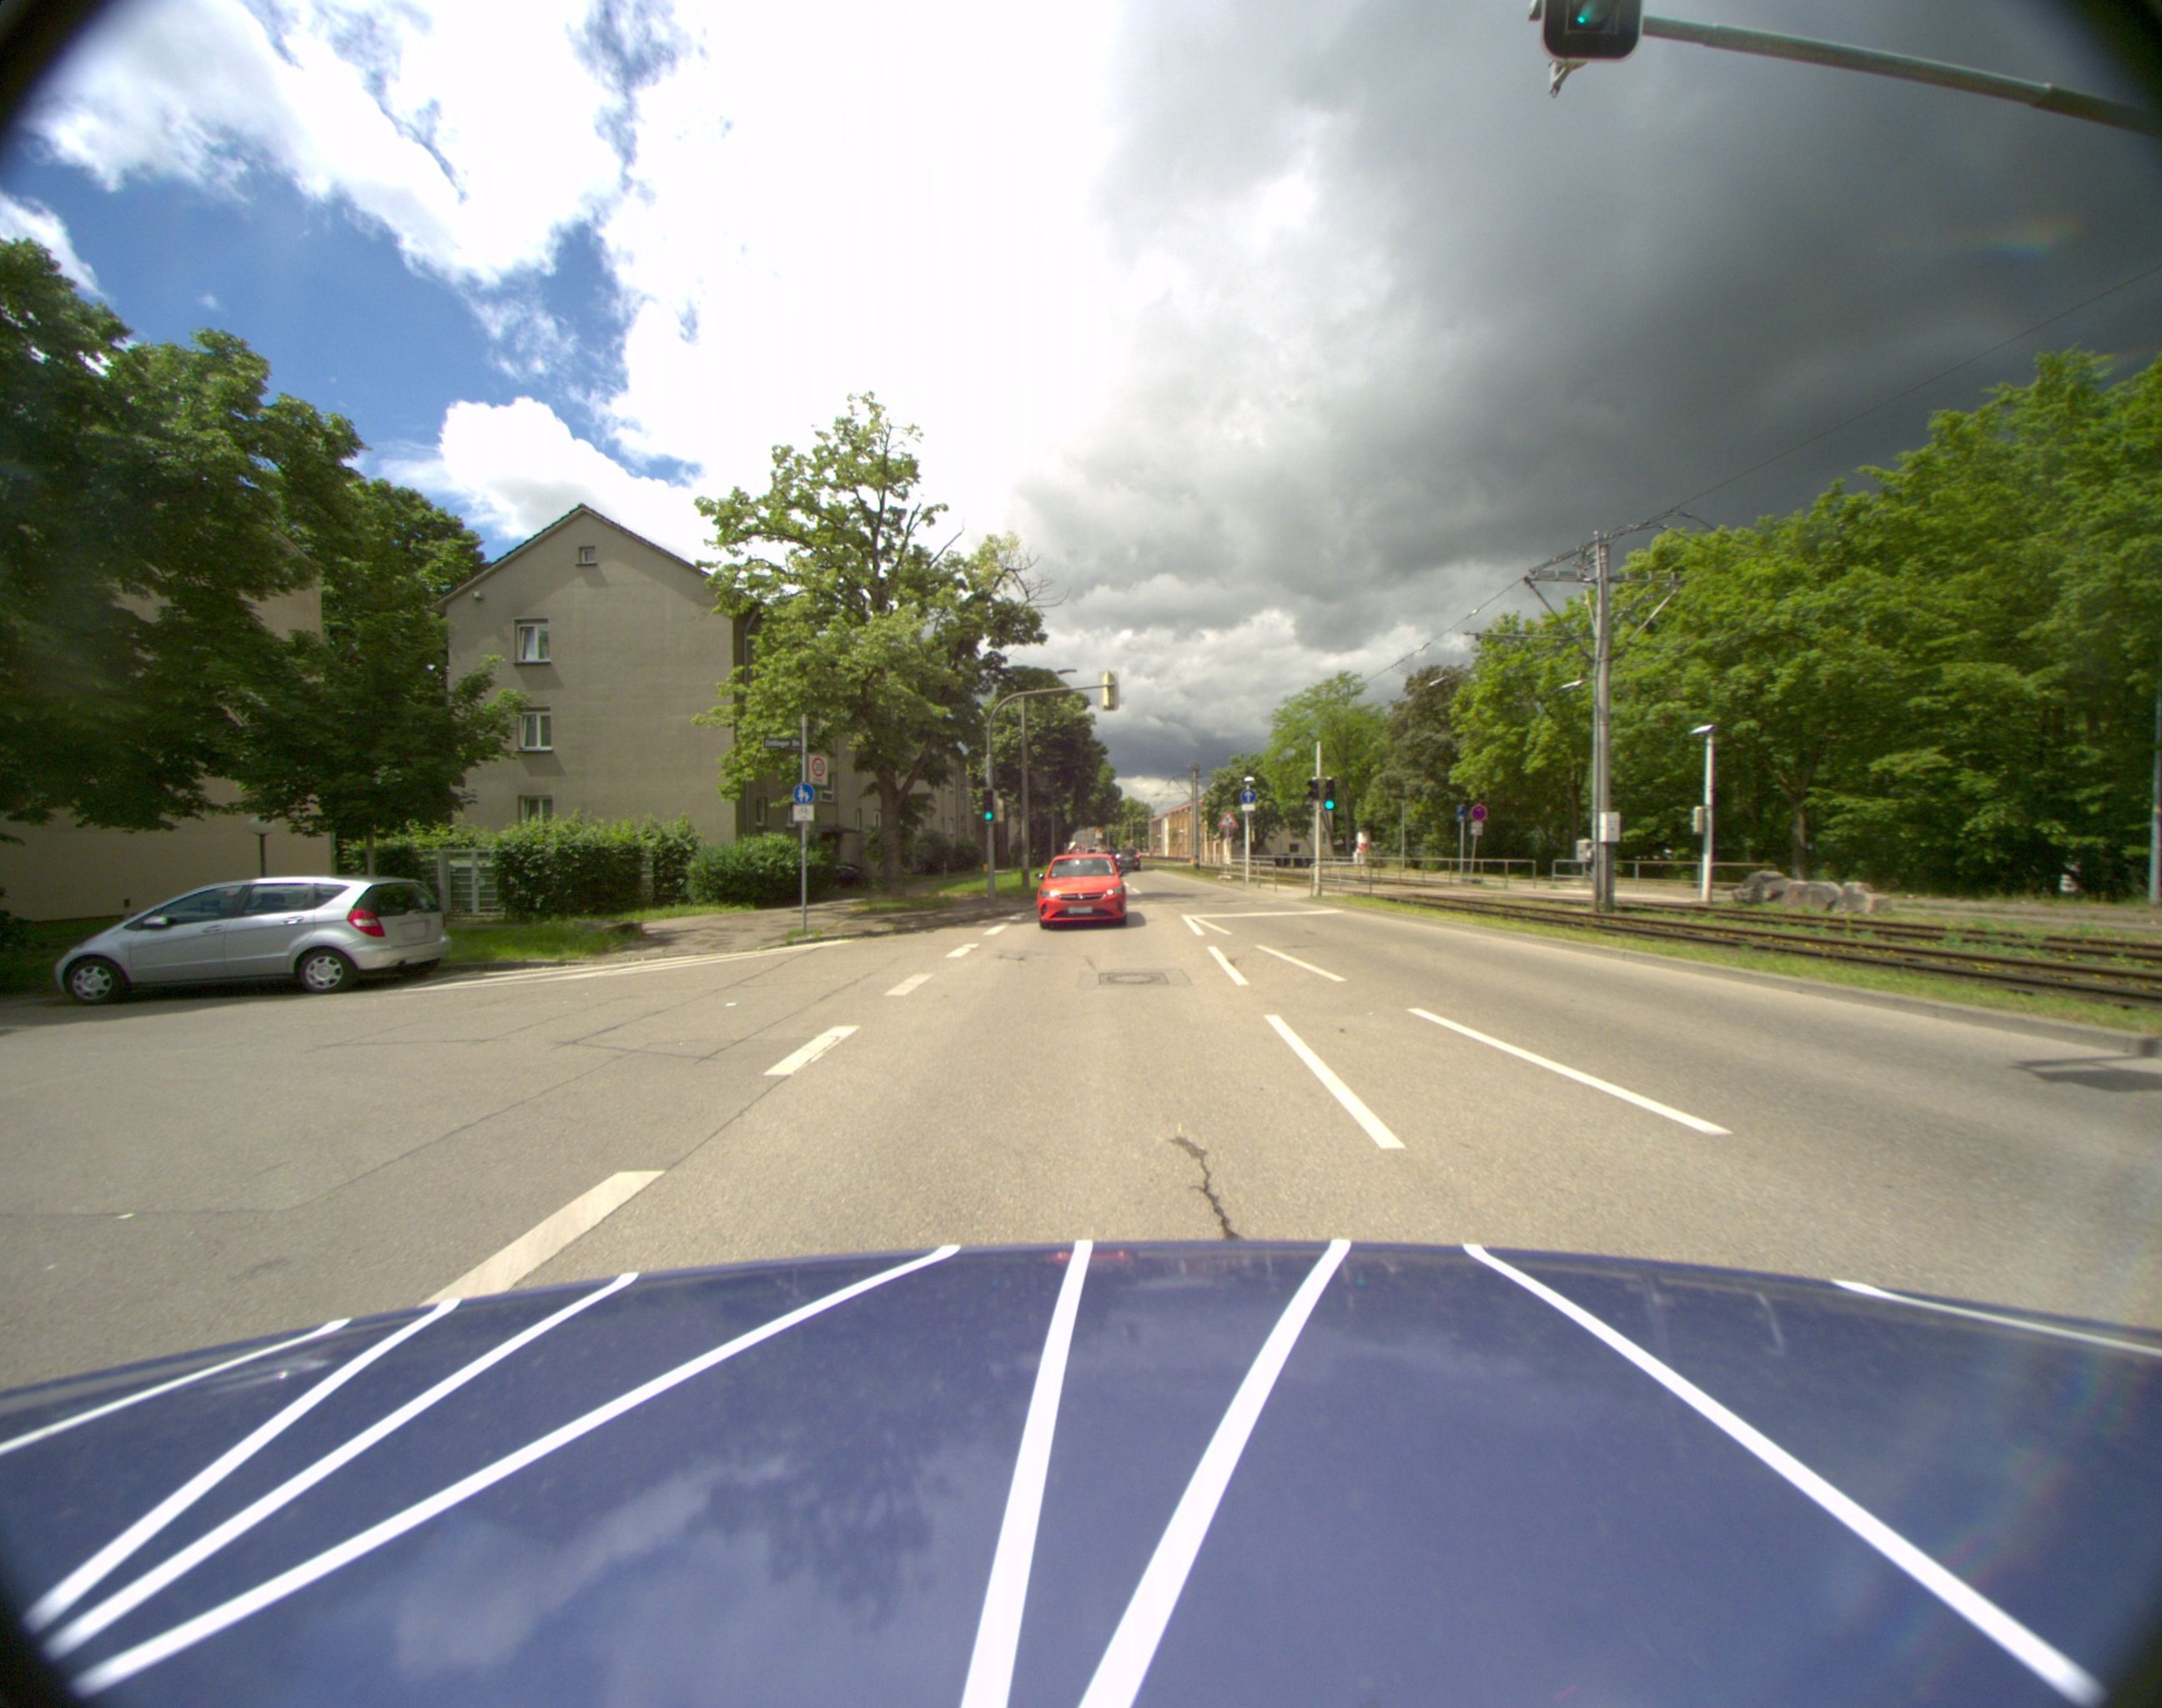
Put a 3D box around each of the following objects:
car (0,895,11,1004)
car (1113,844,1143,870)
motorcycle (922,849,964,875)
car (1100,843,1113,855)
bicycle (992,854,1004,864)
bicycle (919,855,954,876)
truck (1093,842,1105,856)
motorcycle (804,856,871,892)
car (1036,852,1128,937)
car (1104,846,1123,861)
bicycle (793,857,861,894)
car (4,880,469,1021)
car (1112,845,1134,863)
[{"bbox_3d":[-17.427,1.410,9.864,4.017,1.554,1.781,-1,0,-8],"label":"car"},{"bbox_3d":[3.265,0.186,53.339,1.712,1.666,4.227,-2,1,-2],"label":"car"},{"bbox_3d":[-7.589,0.427,41.870,2.000,1.421,1.018,0,1,10],"label":"motorcycle"},{"bbox_3d":[3.480,-0.700,104.413,1.585,1.477,3.806,-2,0,0],"label":"car"},{"bbox_3d":[-8.393,0.507,76.916,0.437,1.074,1.749,-3,2,-35],"label":"bicycle"},{"bbox_3d":[-7.750,0.612,40.832,1.801,1.078,0.455,0,1,5],"label":"bicycle"},{"bbox_3d":[3.803,-1.017,159.587,2.096,2.724,5.095,-2,1,-3],"label":"truck"},{"bbox_3d":[-8.814,0.715,27.545,2.208,1.275,0.681,0,2,8],"label":"motorcycle"},{"bbox_3d":[0.006,0.744,15.967,1.666,1.513,3.785,-2,1,0],"label":"car"},{"bbox_3d":[3.397,-0.017,80.257,1.721,1.535,4.000,-2,0,-1],"label":"car"},{"bbox_3d":[-8.924,0.744,26.762,2.171,1.275,0.681,0,2,8],"label":"bicycle"},{"bbox_3d":[-11.449,1.239,10.649,4.000,1.545,1.937,-2,0,-8],"label":"car"},{"bbox_3d":[3.836,0.016,70.102,1.717,1.557,4.166,-2,0,-1],"label":"car"}]
